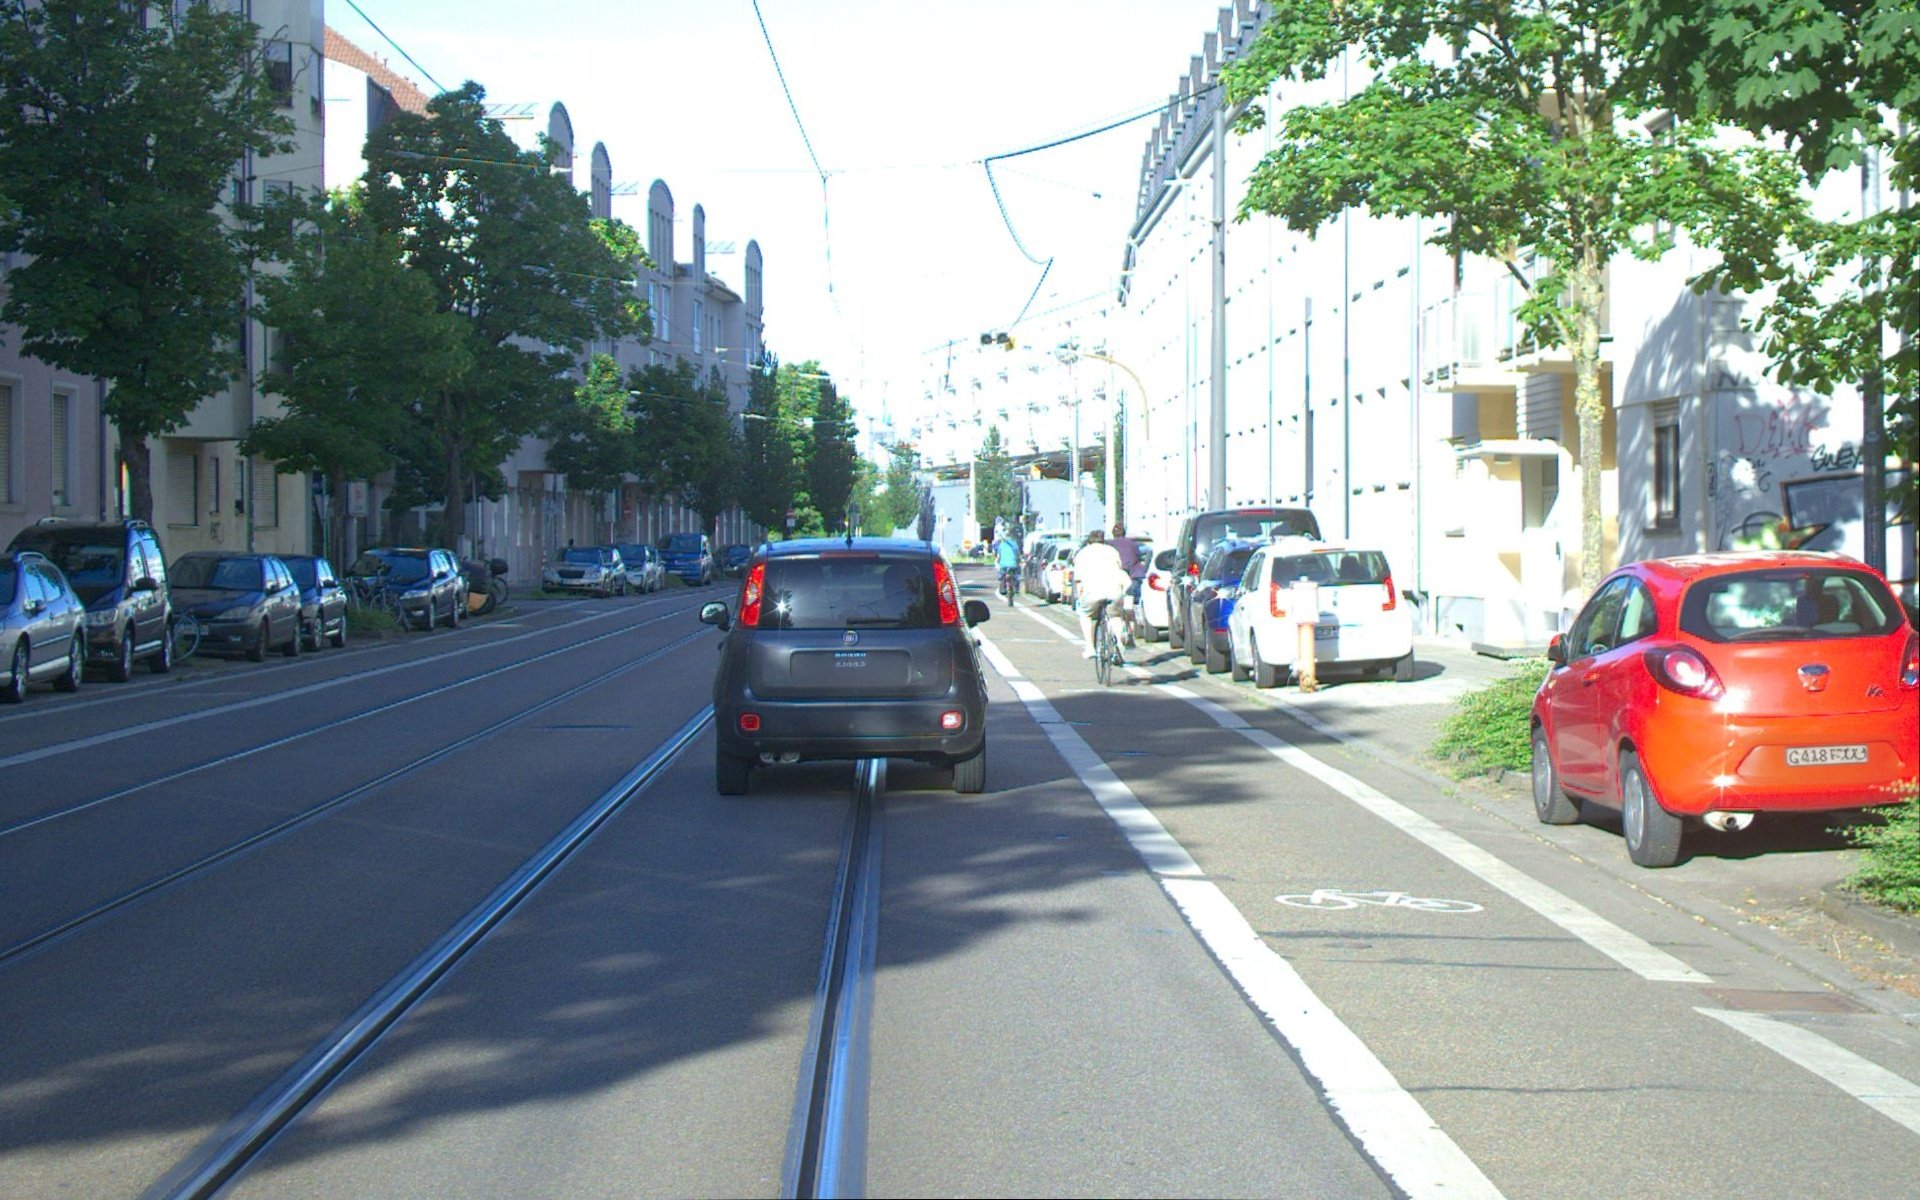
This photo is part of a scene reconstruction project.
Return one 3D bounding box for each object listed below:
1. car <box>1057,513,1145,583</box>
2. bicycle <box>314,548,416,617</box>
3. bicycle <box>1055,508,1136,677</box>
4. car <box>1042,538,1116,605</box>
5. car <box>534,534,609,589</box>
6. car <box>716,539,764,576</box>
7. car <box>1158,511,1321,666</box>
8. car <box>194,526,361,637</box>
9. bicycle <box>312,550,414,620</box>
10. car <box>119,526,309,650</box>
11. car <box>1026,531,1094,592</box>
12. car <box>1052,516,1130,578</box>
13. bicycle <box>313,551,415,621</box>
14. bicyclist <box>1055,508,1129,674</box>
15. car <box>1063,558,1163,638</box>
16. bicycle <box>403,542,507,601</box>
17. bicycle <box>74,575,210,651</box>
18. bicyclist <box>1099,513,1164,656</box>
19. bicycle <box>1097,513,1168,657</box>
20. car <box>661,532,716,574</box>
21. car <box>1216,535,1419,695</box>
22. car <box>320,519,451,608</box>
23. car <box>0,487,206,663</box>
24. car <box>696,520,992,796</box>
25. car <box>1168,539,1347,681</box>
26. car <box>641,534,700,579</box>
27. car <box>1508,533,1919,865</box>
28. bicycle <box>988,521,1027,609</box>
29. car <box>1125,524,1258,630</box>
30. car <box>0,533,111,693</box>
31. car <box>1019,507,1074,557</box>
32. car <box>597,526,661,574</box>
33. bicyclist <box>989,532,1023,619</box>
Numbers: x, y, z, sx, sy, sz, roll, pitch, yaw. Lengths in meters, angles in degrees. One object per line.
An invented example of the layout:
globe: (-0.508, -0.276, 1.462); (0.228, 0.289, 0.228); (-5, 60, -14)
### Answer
car: (2.953, -1.108, 72.595); (1.583, 1.400, 3.377); (1, 1, -2)
bicycle: (-10.608, -0.314, 61.297); (1.728, 1.192, 0.372); (1, 1, -4)
bicycle: (1.437, -0.100, 36.903); (0.675, 1.741, 2.158); (1, 1, -2)
car: (2.939, -0.728, 85.369); (1.583, 1.593, 3.377); (1, 1, -2)
car: (-11.067, -1.105, 98.135); (1.707, 1.491, 3.722); (1, 1, 0)
car: (-9.108, -1.776, 142.328); (1.707, 1.491, 3.722); (1, 1, 0)
car: (3.690, -0.188, 46.064); (1.655, 1.937, 4.665); (1, 1, -1)
car: (-10.530, -0.312, 53.302); (1.808, 1.614, 4.065); (1, 1, -1)
bicycle: (-10.500, -0.270, 60.489); (1.728, 1.192, 0.372); (1, 1, -4)
car: (-10.362, -0.196, 48.007); (1.808, 1.614, 4.065); (1, 1, -1)
car: (2.693, -1.062, 93.113); (1.583, 1.593, 3.377); (1, 1, -2)
car: (3.055, -1.244, 80.711); (1.583, 1.400, 3.377); (1, 1, -2)
bicycle: (-10.559, -0.249, 60.884); (1.728, 1.192, 0.372); (1, 1, -4)
bicyclist: (1.412, -0.100, 36.901); (0.699, 1.753, 0.757); (1, 1, -2)
car: (2.910, -0.060, 65.904); (1.583, 1.400, 3.377); (-3, 1, -2)
bicycle: (-11.429, -0.645, 77.842); (2.275, 1.284, 0.758); (1, 1, -5)
bicycle: (-10.529, 0.164, 44.269); (1.631, 0.934, 0.517); (1, 1, -5)
bicyclist: (2.134, -0.194, 42.831); (0.699, 1.753, 0.757); (1, 1, -2)
bicycle: (2.140, -0.199, 42.875); (0.675, 1.741, 2.158); (1, 1, -2)
car: (-9.962, -1.739, 126.419); (1.707, 1.491, 3.722); (1, 1, 0)
car: (3.718, 0.117, 36.264); (1.655, 1.566, 3.499); (1, 1, -1)
car: (-10.583, -0.696, 63.561); (1.835, 1.551, 4.000); (1, 1, -2)
car: (-10.286, -0.318, 40.654); (1.808, 1.937, 4.334); (1, 1, -1)
car: (-0.714, 0.288, 21.688); (1.650, 1.536, 4.235); (1, 1, -1)
car: (3.495, 0.081, 40.946); (1.655, 1.566, 3.876); (1, 1, -1)
car: (-10.126, -1.535, 120.354); (1.707, 1.491, 3.722); (1, 1, 0)
car: (3.984, 0.434, 17.833); (1.635, 1.503, 3.397); (-2, 1, -1)
bicycle: (1.109, -0.831, 80.695); (0.741, 2.007, 2.812); (1, 1, -2)
car: (3.415, -0.355, 51.233); (1.655, 1.495, 3.130); (1, 1, -1)
car: (-10.060, 0.072, 34.822); (1.808, 1.503, 4.681); (1, 1, -1)
car: (2.849, -2.235, 113.194); (1.583, 1.593, 3.377); (1, 1, -2)
car: (-10.838, -1.638, 112.663); (1.707, 1.491, 3.722); (1, 1, 0)
bicyclist: (1.090, -0.580, 80.901); (0.715, 2.007, 0.832); (1, 1, -2)
